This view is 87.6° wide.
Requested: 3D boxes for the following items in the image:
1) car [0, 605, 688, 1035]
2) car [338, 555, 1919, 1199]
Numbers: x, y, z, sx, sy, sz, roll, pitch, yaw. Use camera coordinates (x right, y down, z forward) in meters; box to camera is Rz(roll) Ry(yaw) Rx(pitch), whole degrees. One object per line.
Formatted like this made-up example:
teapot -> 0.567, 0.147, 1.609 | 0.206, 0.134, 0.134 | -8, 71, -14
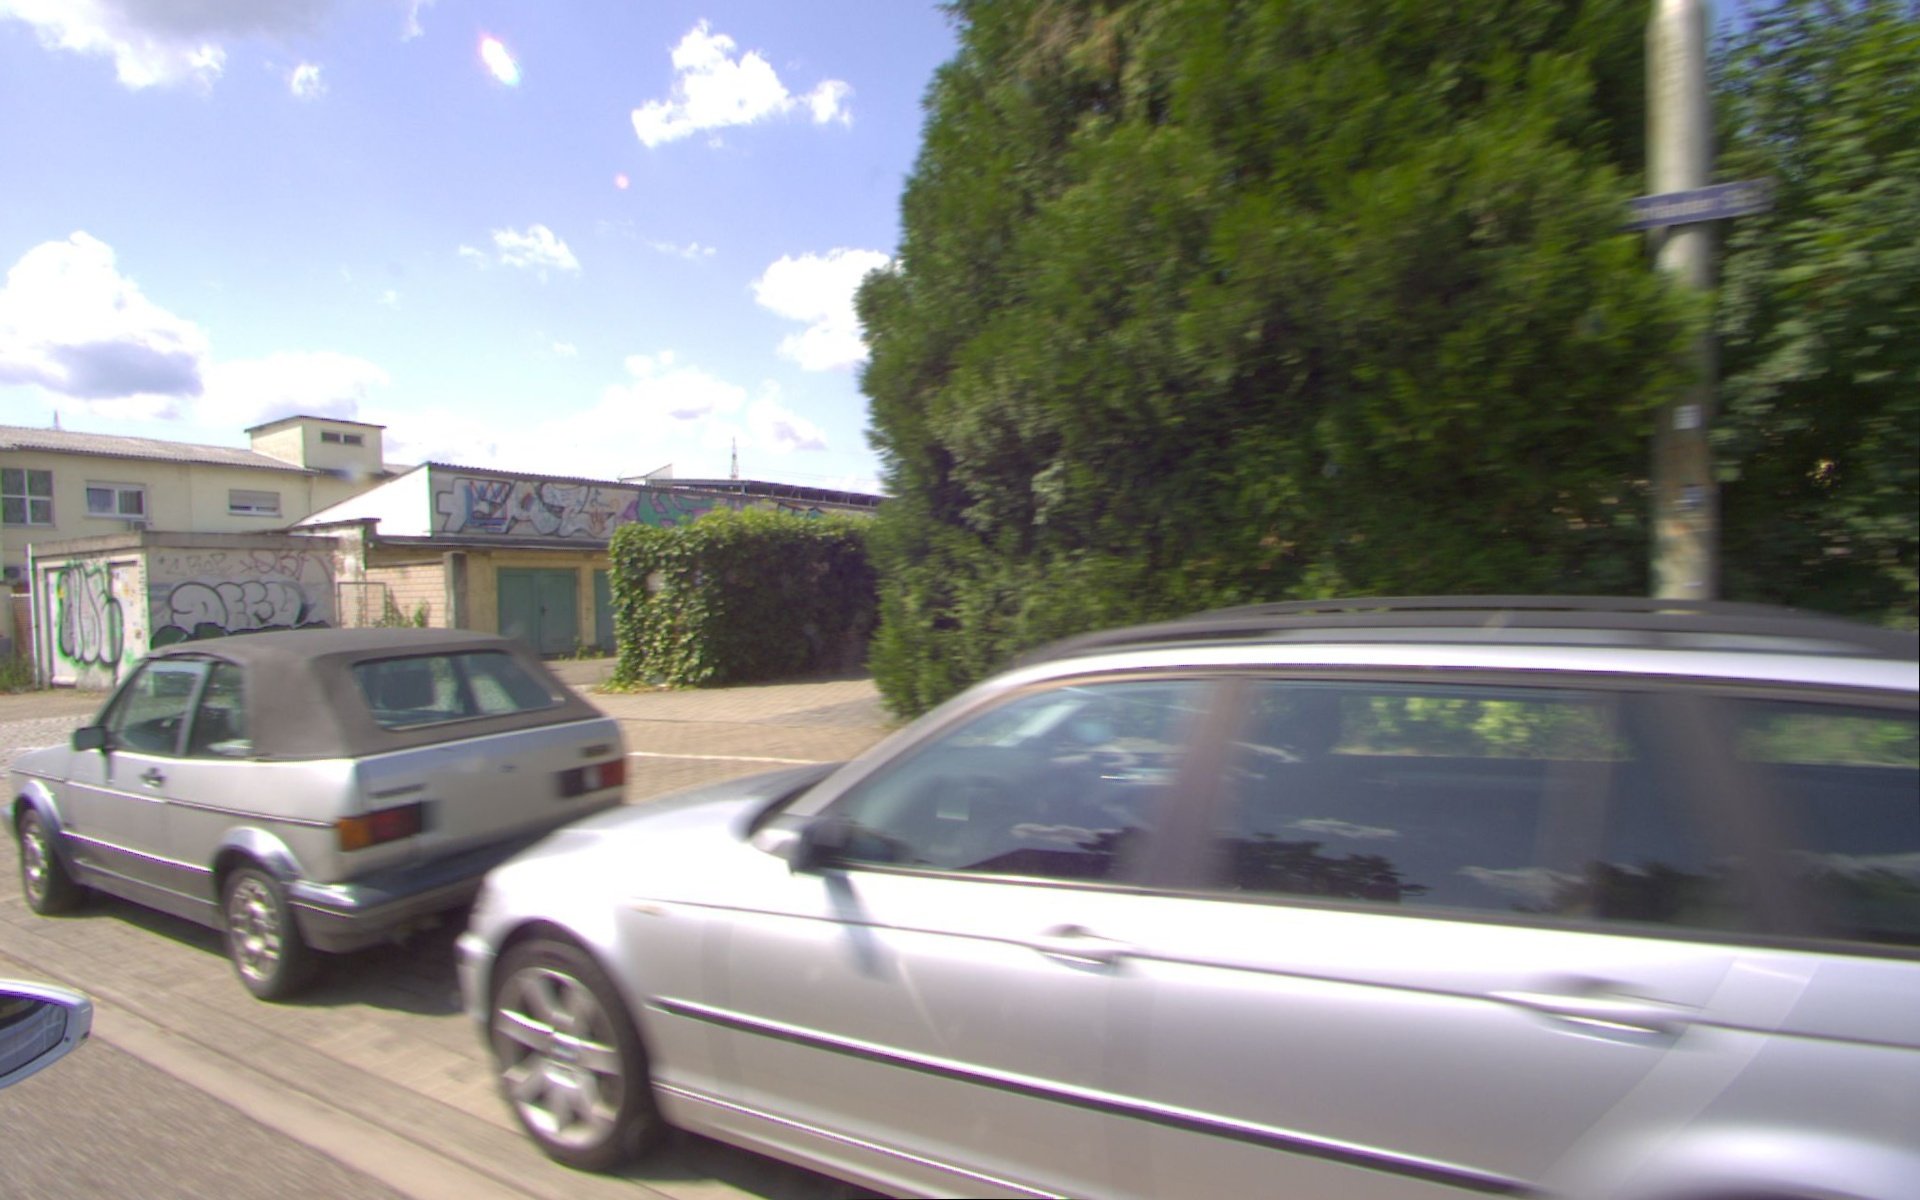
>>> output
car -> -3.476, 0.826, 5.257 | 4.039, 1.450, 1.647 | -2, 1, 33
car -> 0.408, 0.738, 2.736 | 4.291, 1.536, 1.689 | -2, 1, 29
